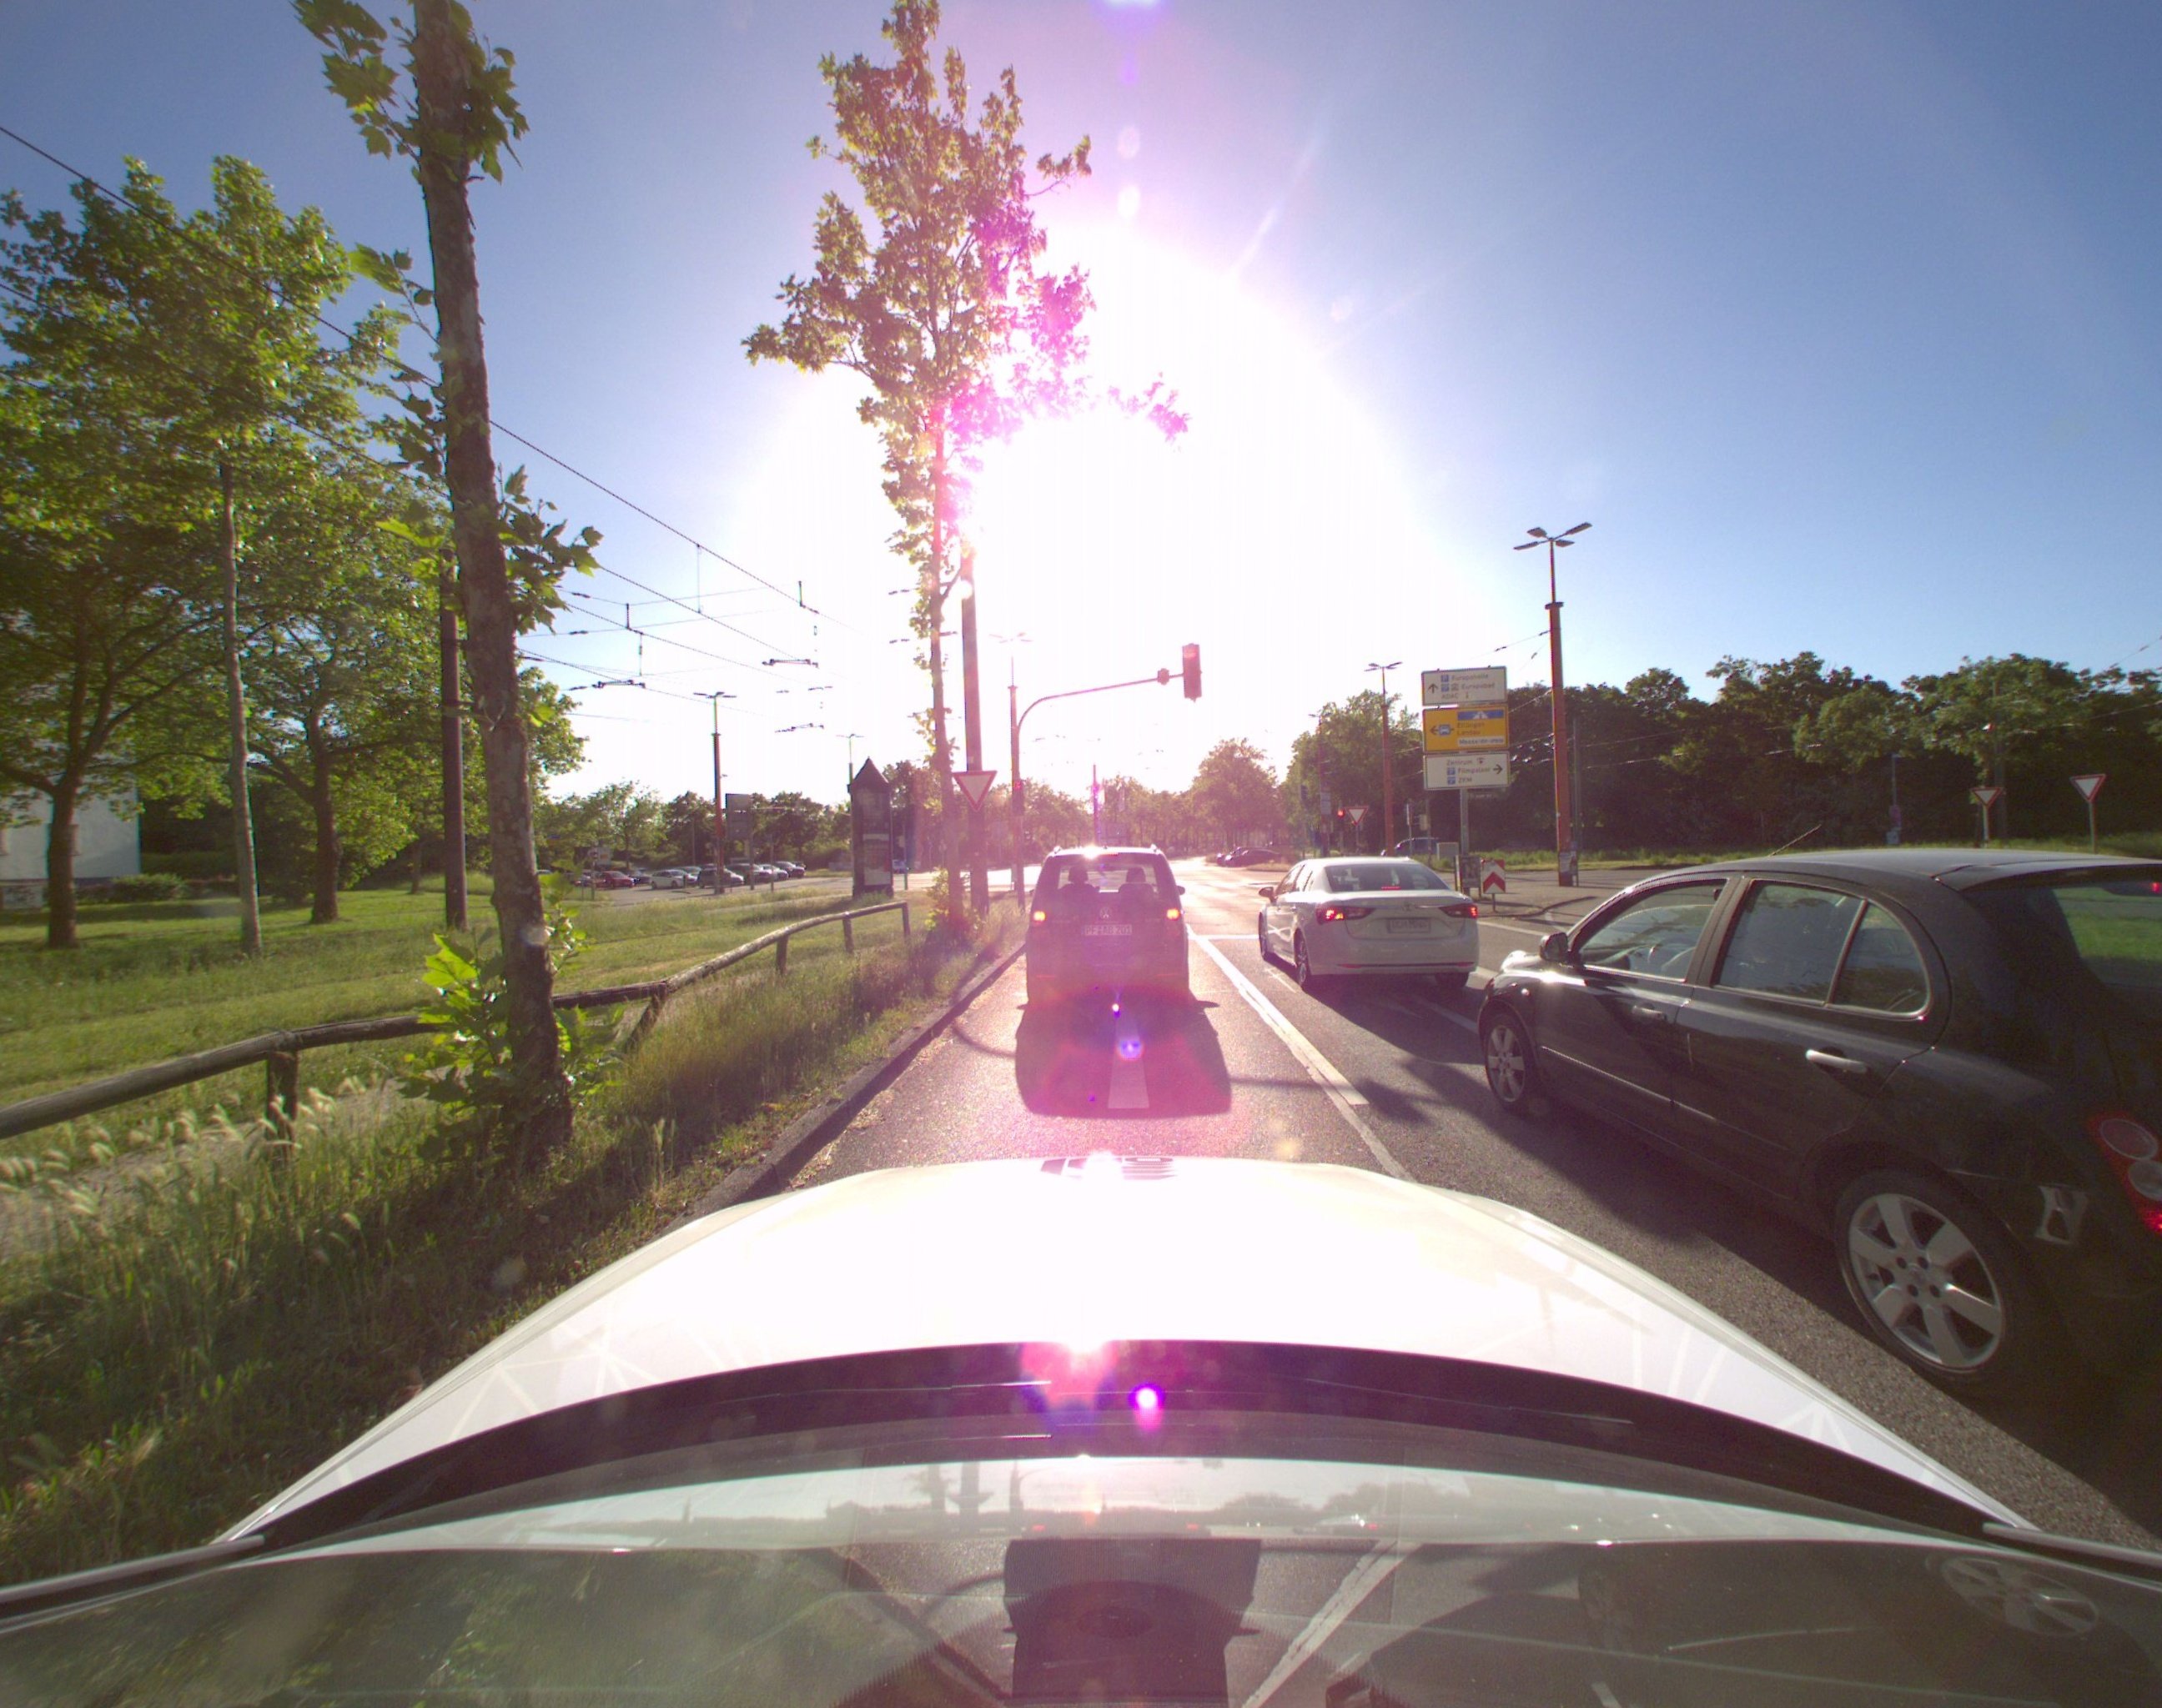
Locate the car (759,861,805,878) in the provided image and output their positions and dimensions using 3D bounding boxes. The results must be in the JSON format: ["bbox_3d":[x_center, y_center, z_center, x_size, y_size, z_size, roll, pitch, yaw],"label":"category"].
[{"bbox_3d":[-26.724,1.381,72.814,4.102,1.415,1.553,-1,0,28],"label":"car"}]

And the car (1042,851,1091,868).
[{"bbox_3d":[-1.293,0.509,72.008,4.079,1.403,1.667,-1,0,29],"label":"car"}]

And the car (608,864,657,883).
[{"bbox_3d":[-40.449,1.725,73.434,4.583,1.647,1.767,-1,0,32],"label":"car"}]

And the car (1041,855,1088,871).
[{"bbox_3d":[-1.541,0.843,76.566,4.080,1.471,1.667,-1,0,27],"label":"car"}]

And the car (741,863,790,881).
[{"bbox_3d":[-26.827,1.522,69.189,4.102,1.415,1.553,-1,0,28],"label":"car"}]

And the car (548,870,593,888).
[{"bbox_3d":[-45.073,2.218,71.904,4.145,1.520,1.667,-1,0,32],"label":"car"}]

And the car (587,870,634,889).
[{"bbox_3d":[-39.436,2.147,68.253,4.145,1.520,1.667,-1,0,32],"label":"car"}]

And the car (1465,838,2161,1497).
[{"bbox_3d":[3.182,0.693,3.490,1.570,1.440,3.443,0,-1,2],"label":"car"}]

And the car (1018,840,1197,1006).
[{"bbox_3d":[0.368,0.688,10.084,1.731,1.602,4.329,0,-1,3],"label":"car"}]

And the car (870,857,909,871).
[{"bbox_3d":[-20.470,1.059,86.883,3.757,1.403,1.666,-1,0,25],"label":"car"}]

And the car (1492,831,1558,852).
[{"bbox_3d":[31.974,-0.853,58.732,4.080,1.403,1.666,-1,0,27],"label":"car"}]

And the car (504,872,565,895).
[{"bbox_3d":[-45.384,2.425,67.622,4.842,1.821,1.843,-1,0,25],"label":"car"}]

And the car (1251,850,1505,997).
[{"bbox_3d":[3.375,0.707,10.189,1.792,1.440,4.329,0,-1,3],"label":"car"}]

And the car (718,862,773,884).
[{"bbox_3d":[-26.920,1.515,65.352,4.583,1.647,1.667,-1,0,32],"label":"car"}]

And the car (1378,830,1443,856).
[{"bbox_3d":[23.937,-0.772,59.133,4.079,1.791,1.810,-1,0,31],"label":"car"}]

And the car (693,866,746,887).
[{"bbox_3d":[-27.325,1.693,61.571,3.793,1.441,1.667,-1,0,29],"label":"car"}]

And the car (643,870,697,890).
[{"bbox_3d":[-32.659,2.072,64.735,4.577,1.520,1.667,-1,0,32],"label":"car"}]

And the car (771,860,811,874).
[{"bbox_3d":[-31.848,1.444,89.325,4.081,1.403,1.666,-1,0,25],"label":"car"}]

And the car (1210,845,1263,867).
[{"bbox_3d":[13.208,0.154,69.177,4.080,1.791,1.810,-1,0,28],"label":"car"}]

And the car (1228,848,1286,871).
[{"bbox_3d":[13.864,0.433,64.253,4.079,1.791,1.810,-1,0,34],"label":"car"}]
